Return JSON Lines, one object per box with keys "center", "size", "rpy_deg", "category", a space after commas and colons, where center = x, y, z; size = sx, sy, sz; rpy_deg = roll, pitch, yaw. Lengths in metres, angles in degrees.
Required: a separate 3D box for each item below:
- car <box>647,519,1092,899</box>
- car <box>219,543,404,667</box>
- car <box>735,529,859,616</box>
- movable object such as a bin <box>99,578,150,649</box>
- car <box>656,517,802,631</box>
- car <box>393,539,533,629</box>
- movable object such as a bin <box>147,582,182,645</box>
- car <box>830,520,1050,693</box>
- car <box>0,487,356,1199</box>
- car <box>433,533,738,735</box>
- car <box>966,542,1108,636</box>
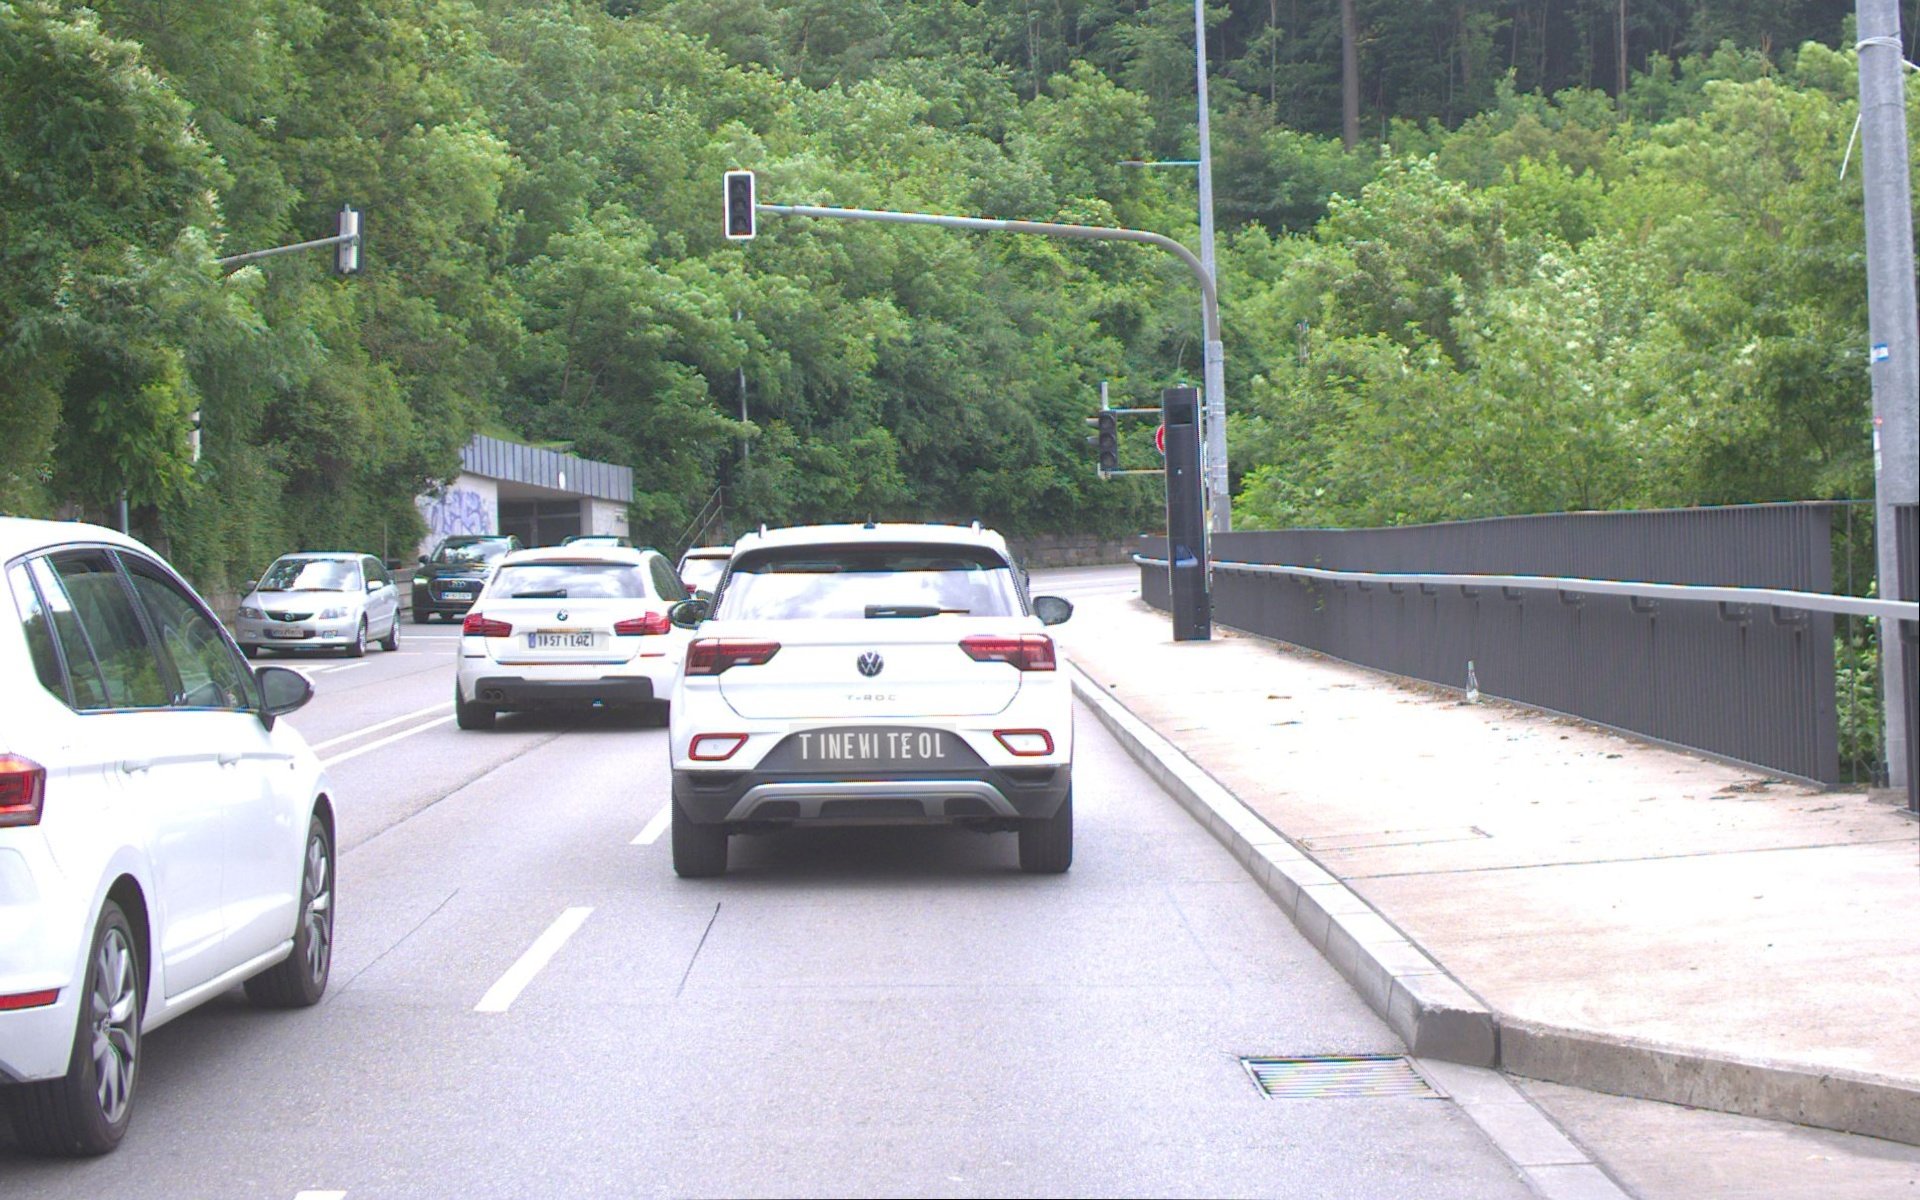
{"center": [-0.519, 0.424, 16.278], "size": [1.813, 1.534, 4.009], "rpy_deg": [-1, 1, -4], "category": "car"}
{"center": [-8.841, 0.029, 47.160], "size": [1.676, 1.437, 4.234], "rpy_deg": [1, 3, 1], "category": "car"}
{"center": [-3.341, -0.581, 71.235], "size": [1.994, 1.735, 3.999], "rpy_deg": [0, 1, 6], "category": "car"}
{"center": [-12.706, 0.197, 52.292], "size": [0.641, 1.063, 0.557], "rpy_deg": [1, 0, -2], "category": "movable object such as a bin"}
{"center": [-3.372, -0.393, 50.852], "size": [1.862, 1.589, 4.000], "rpy_deg": [1, 1, 0], "category": "car"}
{"center": [-9.062, -0.307, 63.015], "size": [1.942, 1.543, 4.249], "rpy_deg": [-1, 0, 0], "category": "car"}
{"center": [-12.124, 0.207, 52.408], "size": [0.427, 0.947, 0.479], "rpy_deg": [1, 0, -2], "category": "movable object such as a bin"}
{"center": [-0.165, 0.054, 39.218], "size": [1.994, 1.837, 4.149], "rpy_deg": [1, 0, 7], "category": "car"}
{"center": [-2.884, 0.504, 9.581], "size": [1.720, 1.549, 4.276], "rpy_deg": [0, 1, -1], "category": "car"}
{"center": [-3.033, 0.224, 28.777], "size": [1.993, 1.552, 4.681], "rpy_deg": [0, 1, 1], "category": "car"}
{"center": [1.746, -0.246, 76.551], "size": [1.995, 2.007, 3.996], "rpy_deg": [1, 0, 20], "category": "car"}
